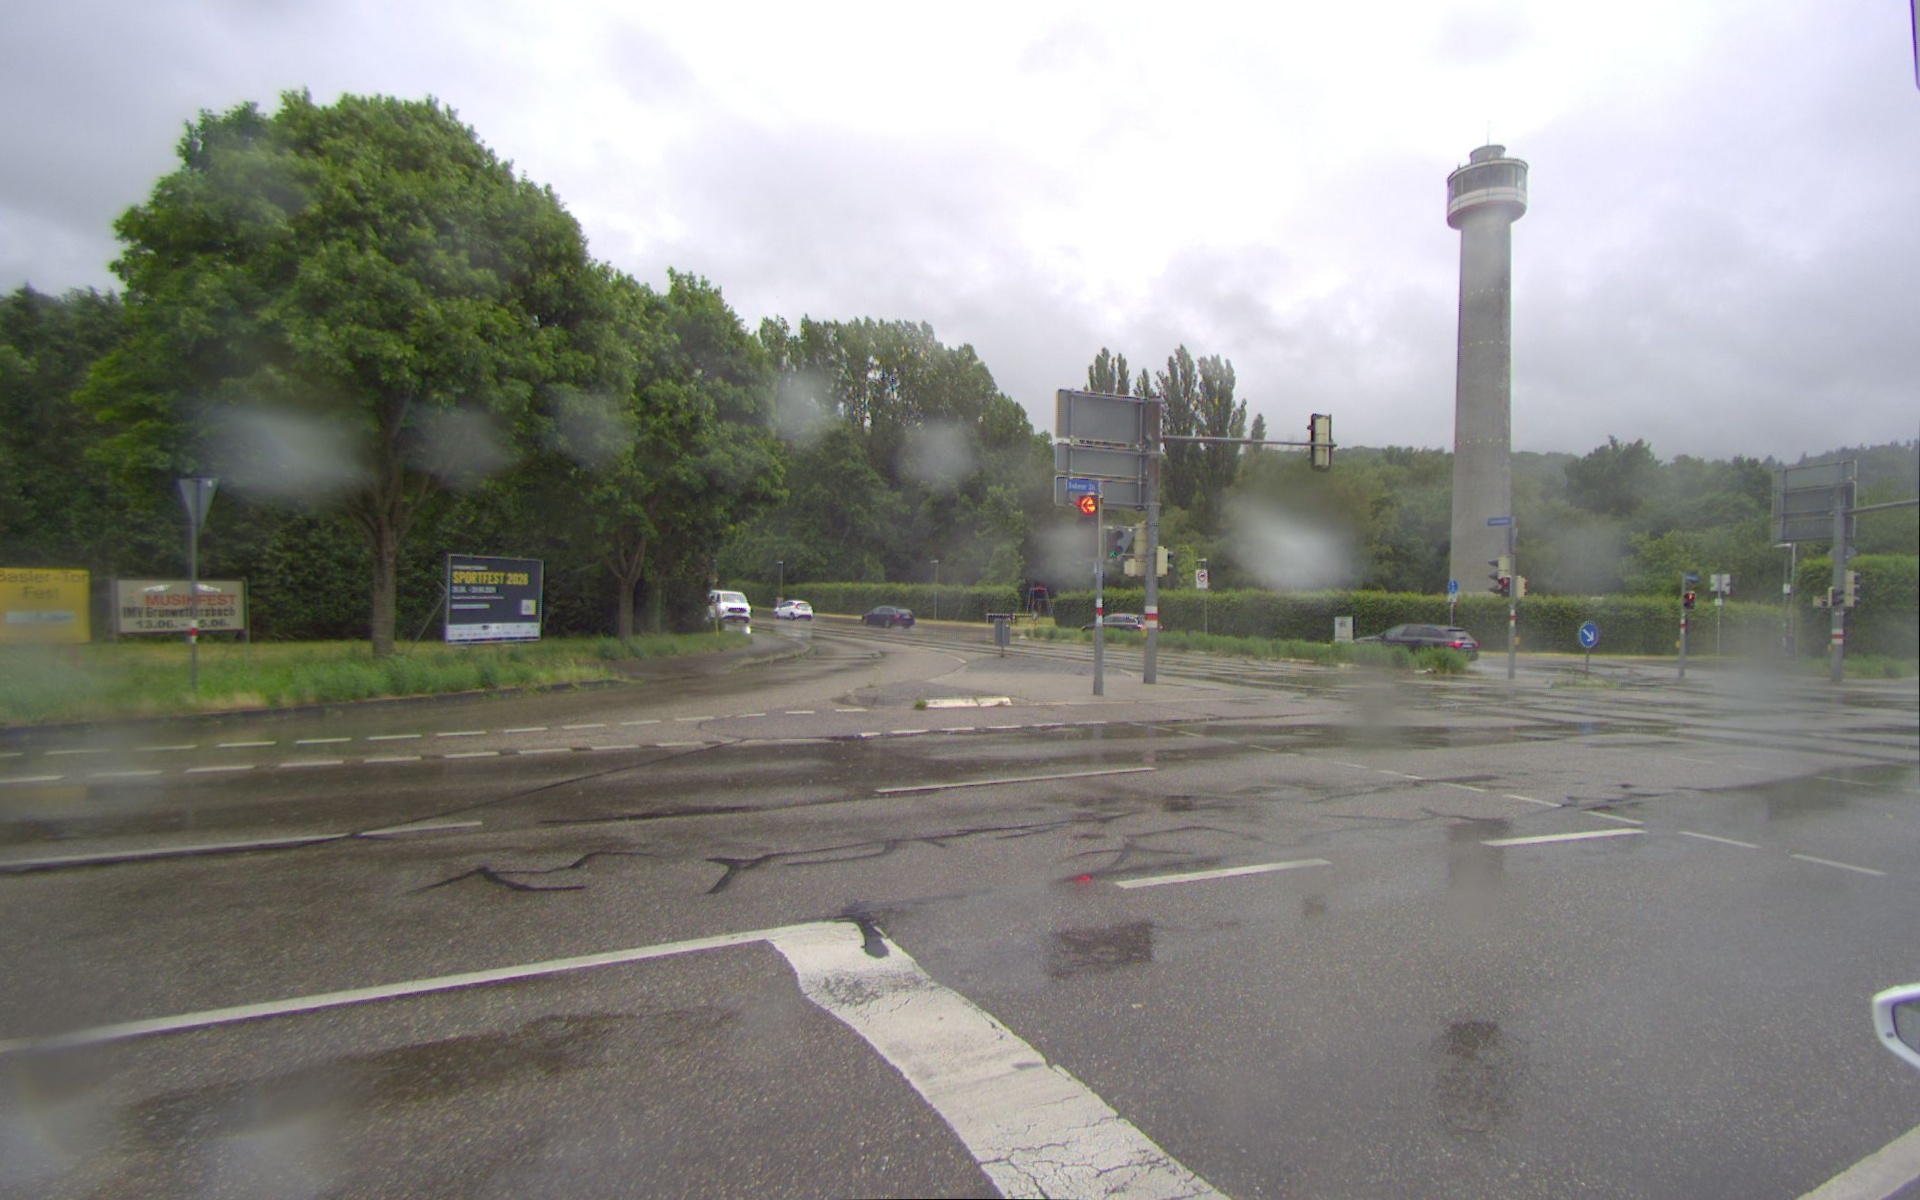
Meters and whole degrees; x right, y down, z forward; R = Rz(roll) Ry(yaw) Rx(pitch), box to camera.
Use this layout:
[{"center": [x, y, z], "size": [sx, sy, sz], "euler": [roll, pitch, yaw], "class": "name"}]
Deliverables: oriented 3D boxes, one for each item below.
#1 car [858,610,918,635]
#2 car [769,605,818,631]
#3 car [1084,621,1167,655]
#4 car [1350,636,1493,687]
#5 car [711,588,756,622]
[{"center": [-4.835, 1.466, 66.782], "size": [1.805, 1.574, 4.637], "euler": [1, -1, -36], "class": "car"}, {"center": [-12.850, 1.386, 77.454], "size": [1.896, 1.941, 4.638], "euler": [1, -1, -35], "class": "car"}, {"center": [8.240, 1.879, 50.468], "size": [1.798, 1.574, 4.655], "euler": [1, -1, -25], "class": "car"}, {"center": [16.411, 2.124, 35.975], "size": [1.797, 1.574, 4.657], "euler": [1, -1, -24], "class": "car"}, {"center": [-14.879, 0.355, 65.722], "size": [2.086, 2.040, 4.729], "euler": [1, -2, -22], "class": "car"}]
